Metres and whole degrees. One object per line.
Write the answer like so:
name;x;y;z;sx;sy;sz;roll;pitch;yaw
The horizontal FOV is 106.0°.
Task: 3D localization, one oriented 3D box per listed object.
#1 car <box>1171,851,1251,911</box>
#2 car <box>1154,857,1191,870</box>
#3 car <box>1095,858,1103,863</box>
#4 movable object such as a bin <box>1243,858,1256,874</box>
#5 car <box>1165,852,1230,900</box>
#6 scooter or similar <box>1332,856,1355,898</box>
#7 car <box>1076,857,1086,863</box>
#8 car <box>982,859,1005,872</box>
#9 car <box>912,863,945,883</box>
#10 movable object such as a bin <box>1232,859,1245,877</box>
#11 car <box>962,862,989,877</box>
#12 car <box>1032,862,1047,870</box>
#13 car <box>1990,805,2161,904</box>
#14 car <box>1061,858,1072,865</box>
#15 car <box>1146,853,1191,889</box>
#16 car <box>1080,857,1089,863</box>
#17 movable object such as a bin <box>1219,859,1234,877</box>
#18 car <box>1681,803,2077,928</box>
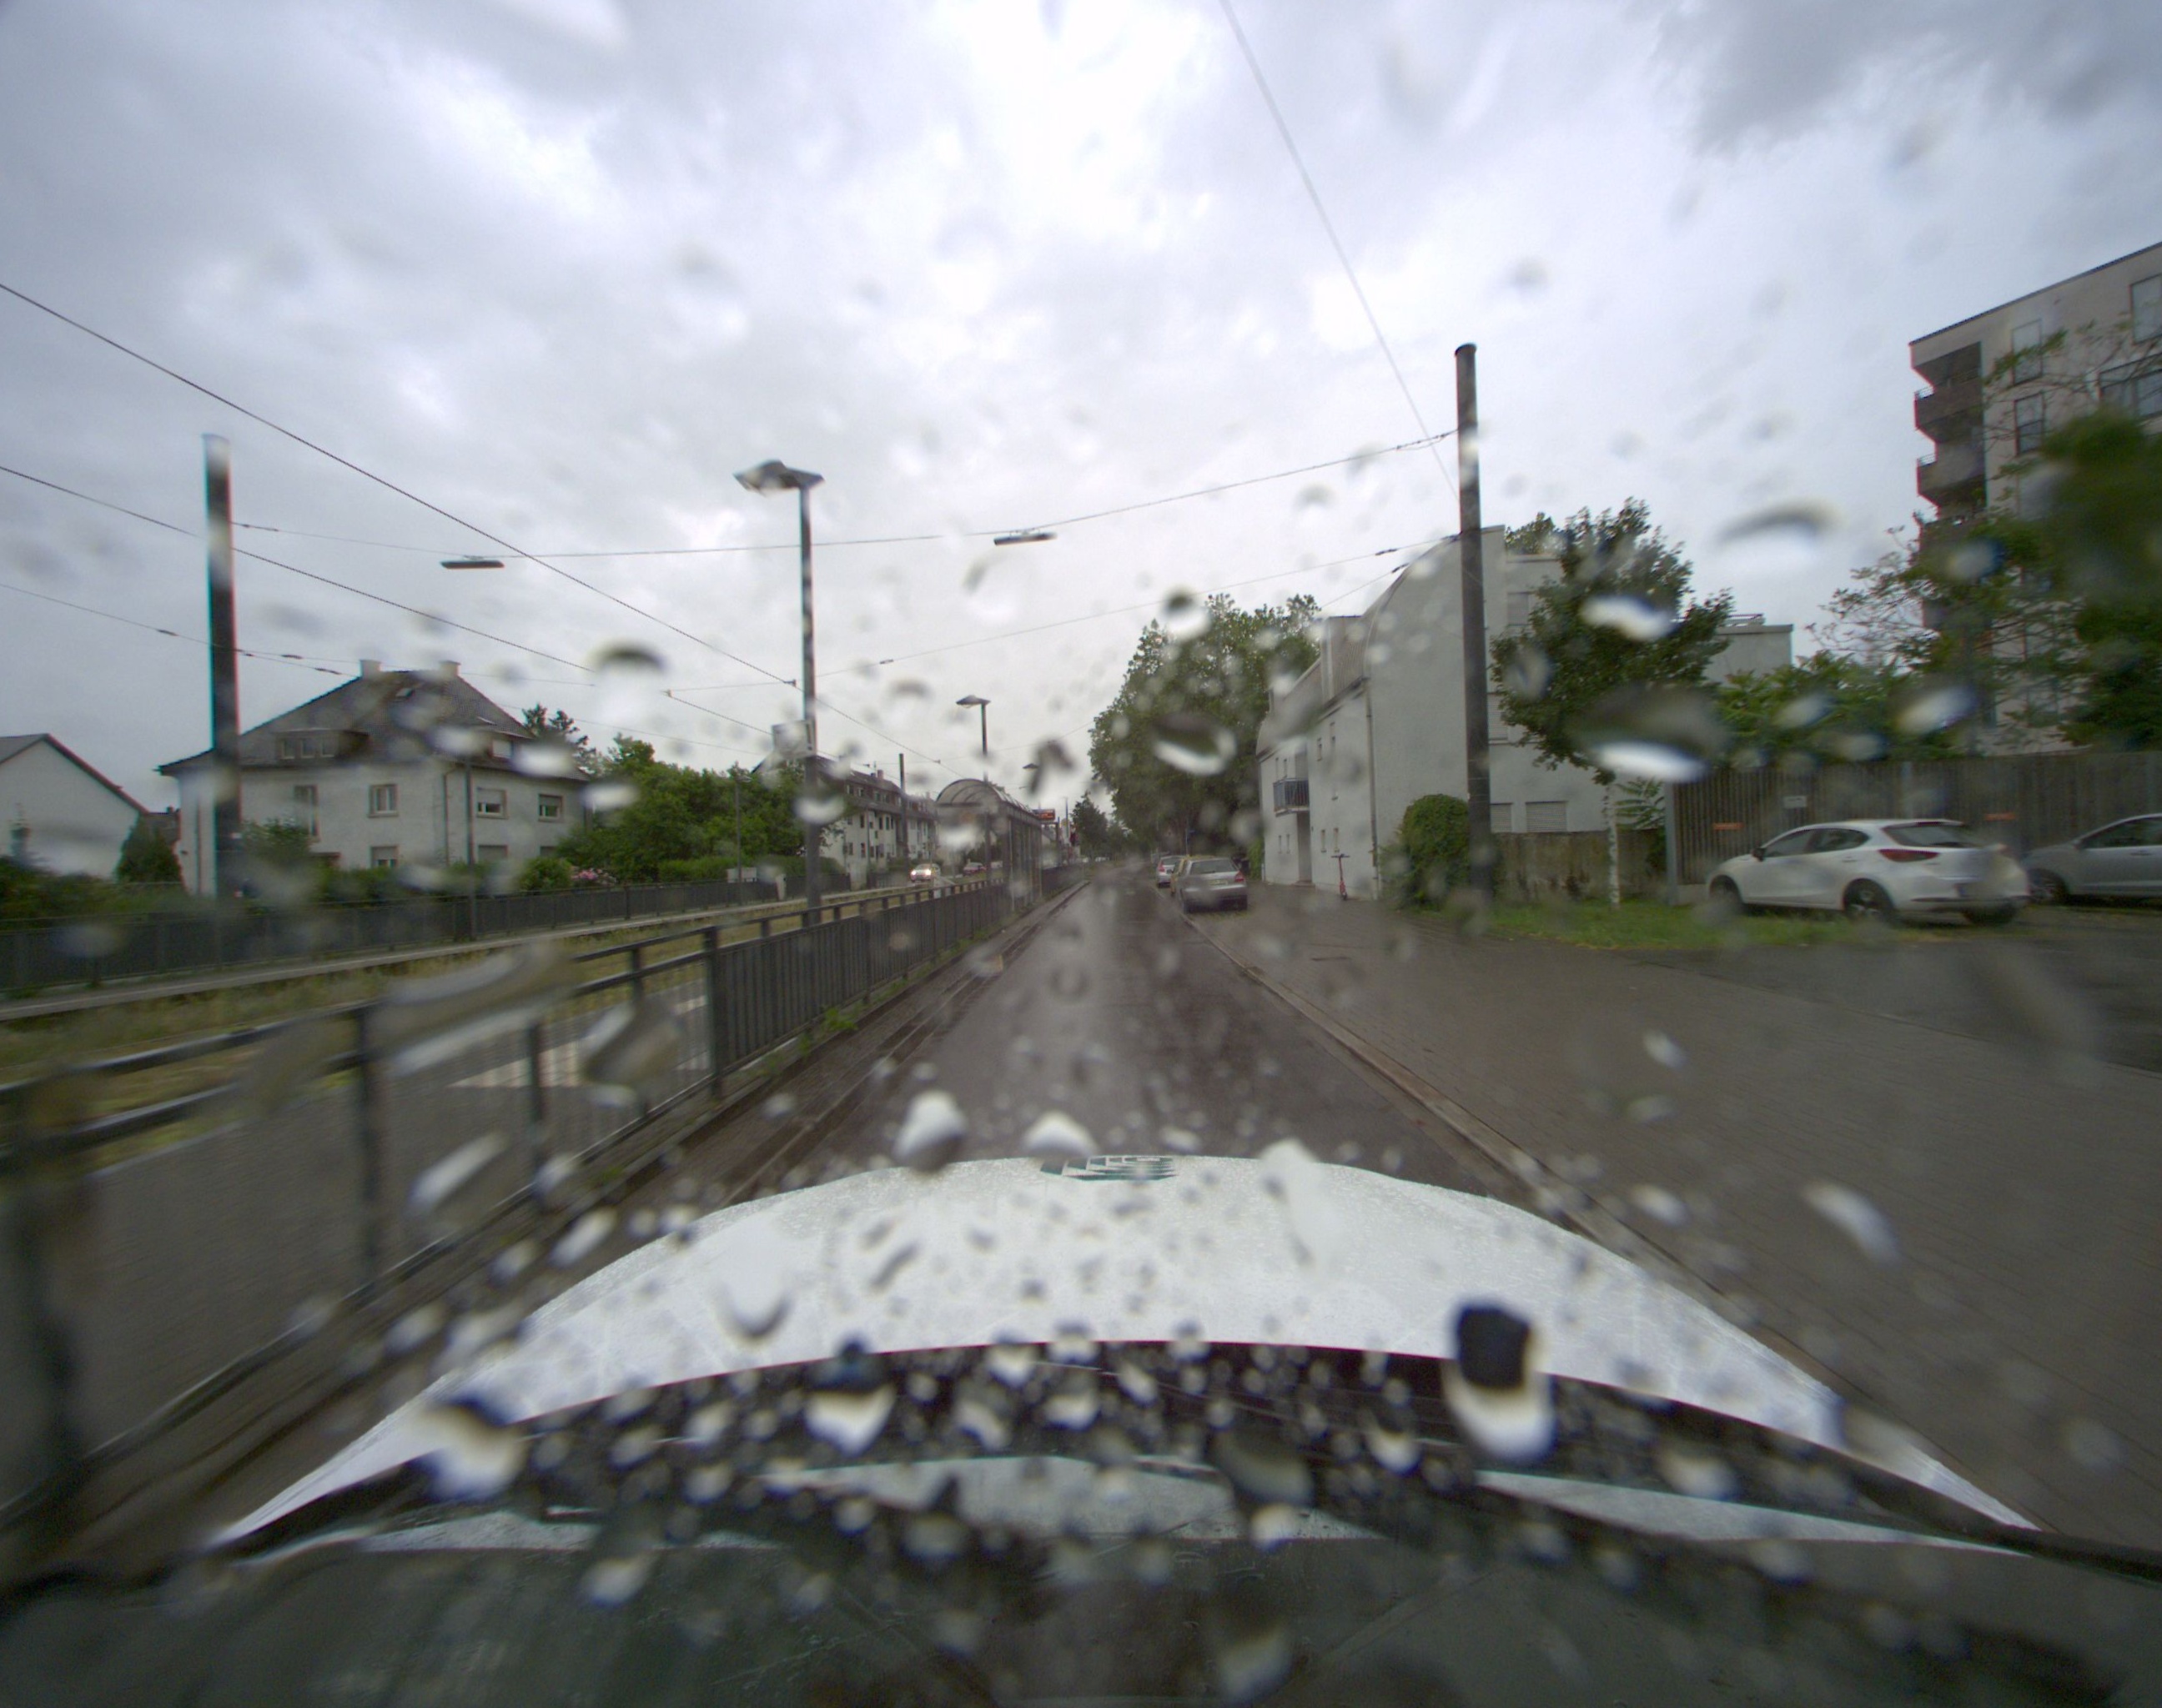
car;3.561;0.739;23.094;1.643;1.405;4.652;-5;-1;3
car;10.933;1.112;97.508;3.990;1.453;1.992;-1;-1;-12
car;5.375;1.875;240.675;1.919;1.486;4.006;-1;-1;6
movable object such as a bin;9.842;0.722;47.517;0.534;0.899;0.739;-4;-1;2
car;3.978;0.751;28.334;1.799;1.405;3.796;-5;-1;3
scooter or similar;7.031;0.622;21.877;0.331;1.085;1.398;-1;-1;8
car;0.046;1.544;198.945;1.919;1.486;4.006;-1;-1;6
car;-10.584;1.411;98.393;1.919;1.486;4.006;-1;-1;6
car;-12.164;1.521;65.224;1.626;1.493;4.003;-1;-1;3
movable object such as a bin;9.221;0.814;47.674;0.534;1.022;0.739;-4;-1;2
car;-11.366;1.676;87.964;1.919;1.486;4.006;-1;-1;6
car;-7.219;2.090;142.512;1.919;1.486;4.006;-1;-1;6
car;16.756;-0.010;12.282;1.959;1.447;3.659;-1;0;-4
car;-3.211;1.688;176.995;1.919;1.486;4.006;-1;-1;6
car;4.134;0.800;38.815;1.799;1.467;3.796;-5;-1;3
car;0.883;1.569;210.687;1.919;1.486;4.006;-1;-1;6
movable object such as a bin;8.616;0.833;48.351;0.690;1.022;0.824;-4;-1;2
car;11.614;0.131;12.411;1.954;1.535;4.368;-1;0;4
